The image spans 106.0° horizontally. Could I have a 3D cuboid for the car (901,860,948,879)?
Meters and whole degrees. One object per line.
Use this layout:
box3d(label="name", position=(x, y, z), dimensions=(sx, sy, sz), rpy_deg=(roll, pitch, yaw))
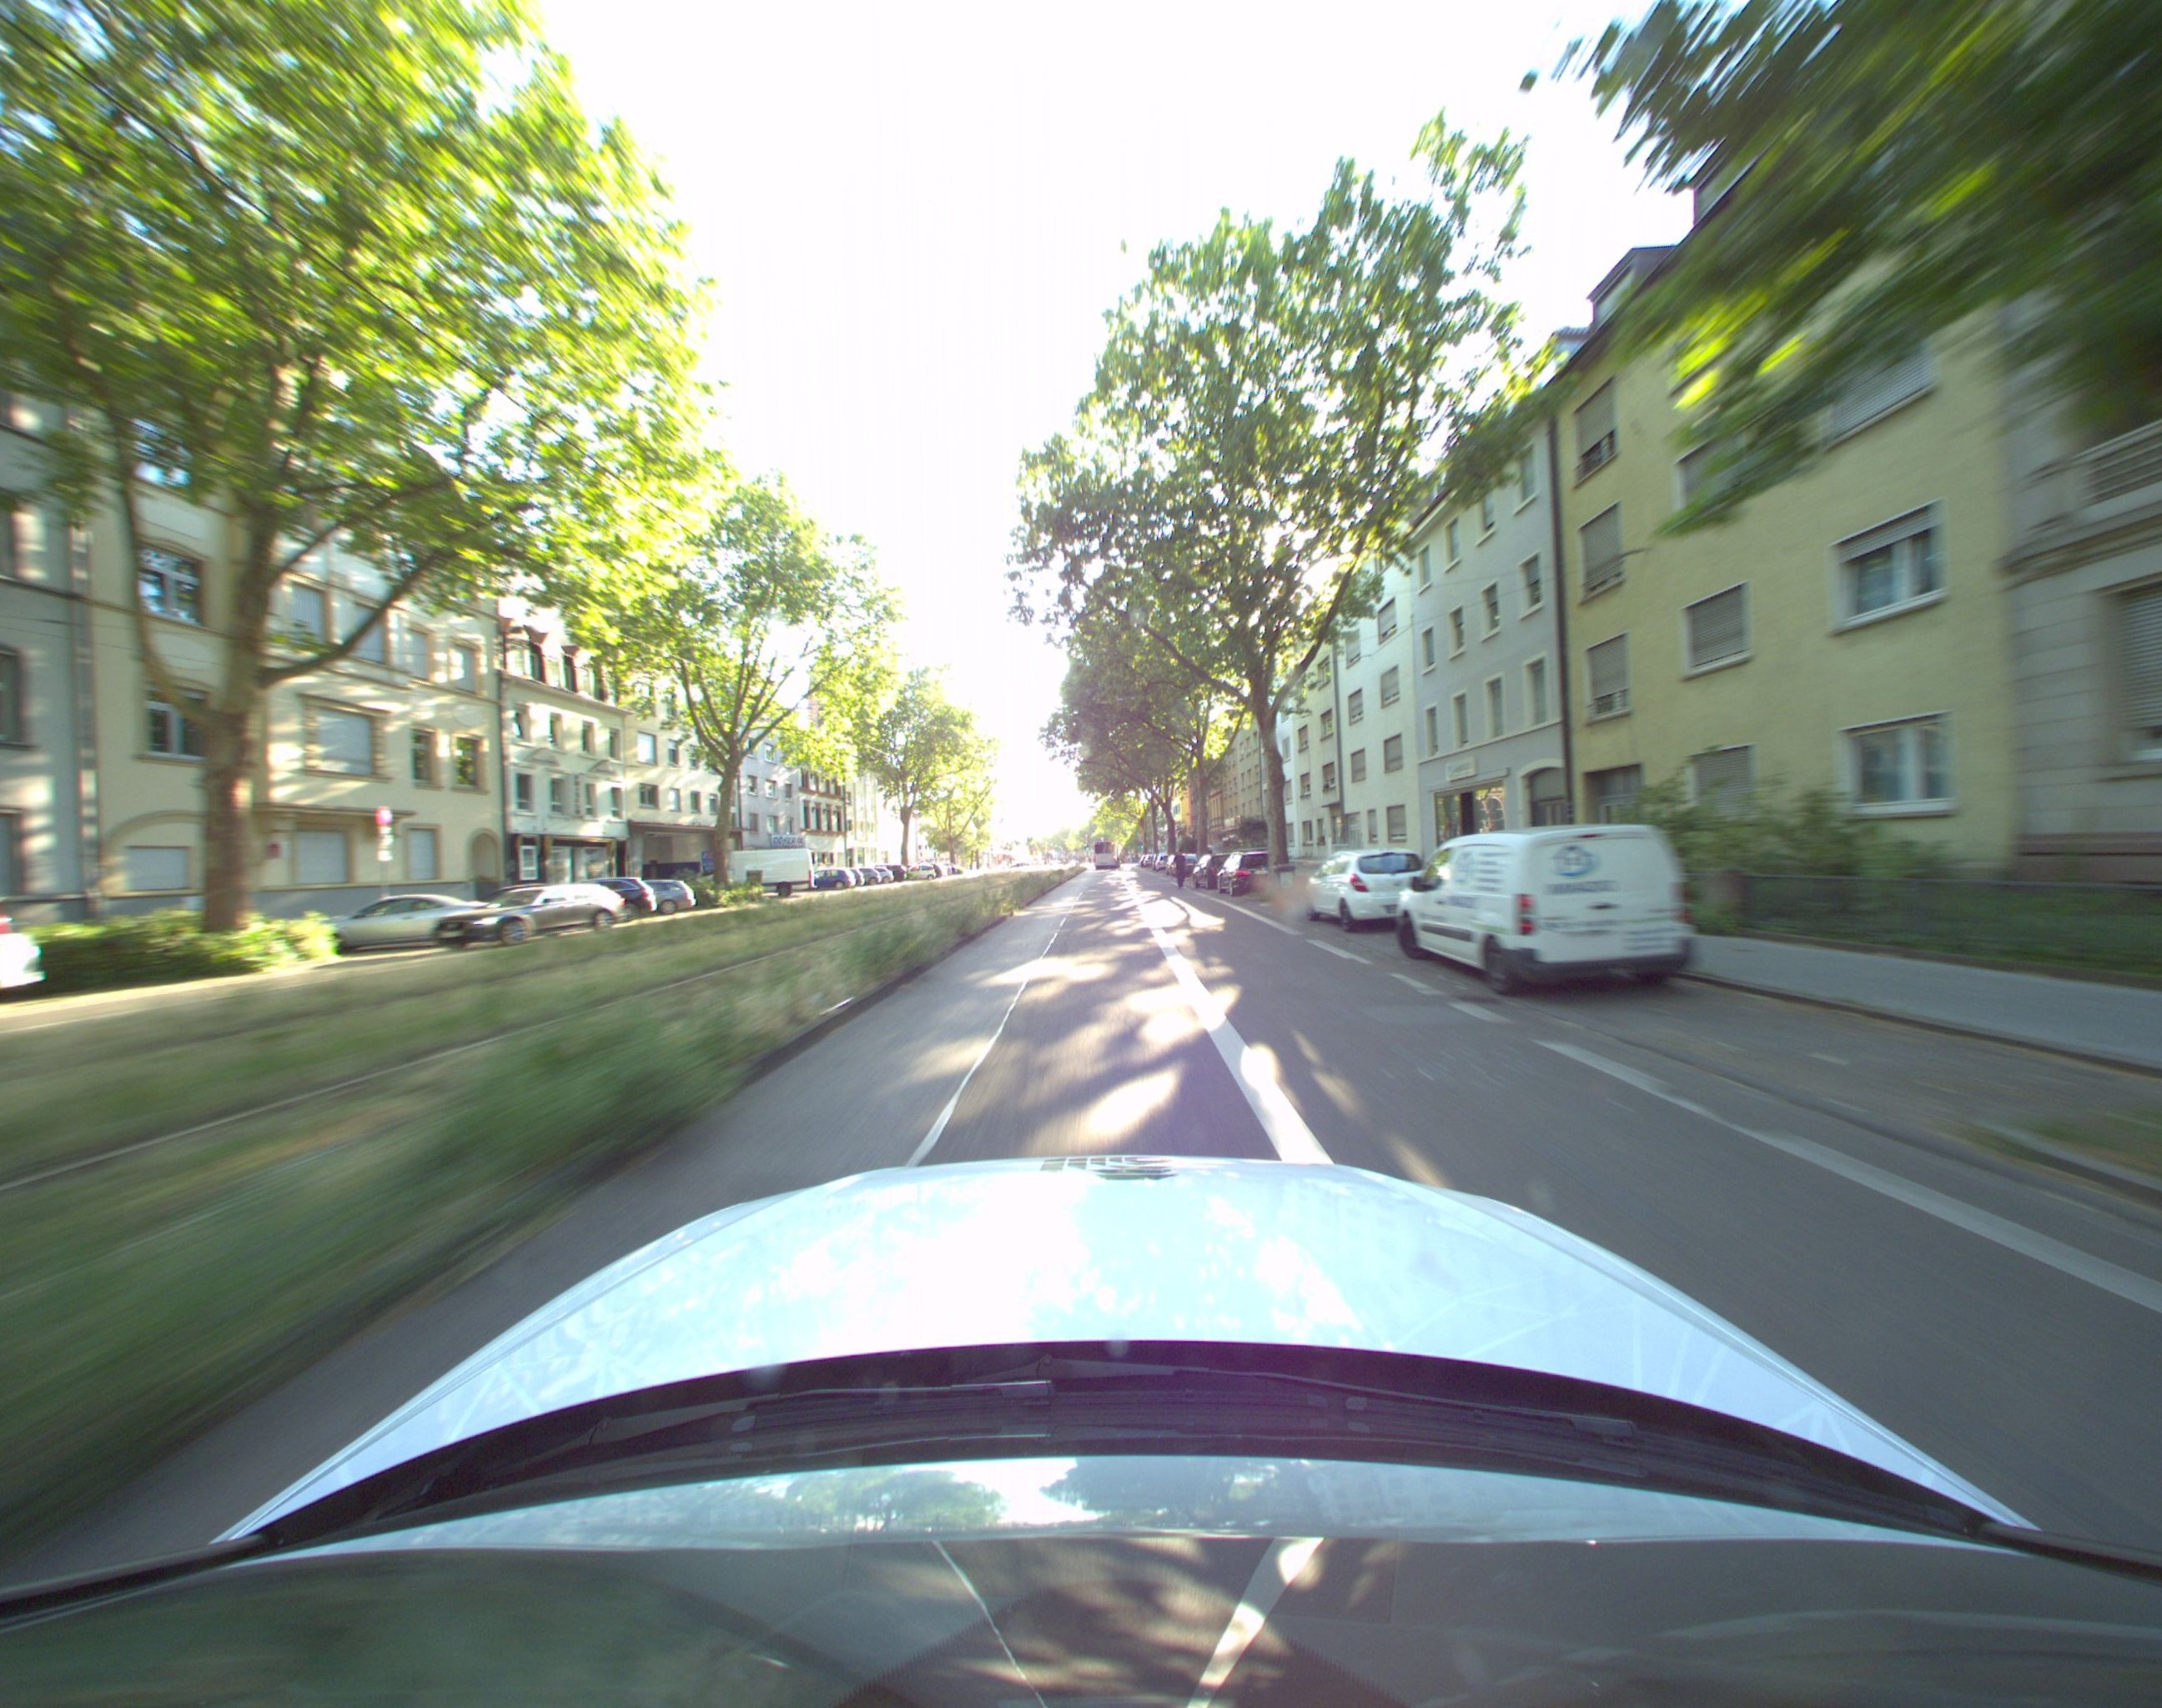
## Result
box3d(label="car", position=(-16.240, 1.628, 84.582), dimensions=(4.334, 1.738, 1.837), rpy_deg=(-2, -1, -39))

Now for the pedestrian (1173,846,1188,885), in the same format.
box3d(label="pedestrian", position=(4.589, 0.531, 37.553), dimensions=(0.574, 1.779, 0.514), rpy_deg=(-3, 0, 1))

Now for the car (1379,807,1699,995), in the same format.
box3d(label="car", position=(5.314, 0.489, 10.236), dimensions=(1.736, 1.770, 4.399), rpy_deg=(-3, -1, 4))

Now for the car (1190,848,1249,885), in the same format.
box3d(label="car", position=(6.069, 0.552, 36.070), dimensions=(1.682, 1.486, 3.996), rpy_deg=(-3, -1, -3))

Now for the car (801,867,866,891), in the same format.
box3d(label="car", position=(-17.658, 1.786, 58.075), dimensions=(4.314, 1.458, 1.845), rpy_deg=(-3, -1, -21))

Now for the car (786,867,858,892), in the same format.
box3d(label="car", position=(-17.589, 1.747, 55.432), dimensions=(4.290, 1.458, 1.855), rpy_deg=(-3, -1, -4))

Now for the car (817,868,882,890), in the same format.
box3d(label="car", position=(-17.638, 1.890, 62.048), dimensions=(4.334, 1.458, 1.837), rpy_deg=(-2, -1, -39))

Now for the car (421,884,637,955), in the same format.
box3d(label="car", position=(-14.382, 1.632, 21.654), dimensions=(1.735, 1.460, 4.938), rpy_deg=(-3, -1, 10))

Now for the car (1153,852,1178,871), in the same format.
box3d(label="car", position=(7.252, 0.644, 69.920), dimensions=(1.774, 1.516, 4.001), rpy_deg=(-3, 0, 1))

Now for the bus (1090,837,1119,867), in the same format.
box3d(label="bus", position=(2.650, -0.186, 94.618), dimensions=(2.825, 3.235, 8.178), rpy_deg=(-3, -1, -1))

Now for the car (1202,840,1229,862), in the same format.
box3d(label="car", position=(12.754, -0.254, 77.302), dimensions=(1.876, 1.860, 4.327), rpy_deg=(-3, -1, 1))

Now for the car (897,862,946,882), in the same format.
box3d(label="car", position=(-15.815, 1.729, 80.648), dimensions=(4.334, 1.738, 1.837), rpy_deg=(-2, -1, -39))

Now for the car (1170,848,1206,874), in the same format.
box3d(label="car", position=(6.792, 0.441, 52.020), dimensions=(1.774, 1.516, 4.001), rpy_deg=(-3, 0, 1))

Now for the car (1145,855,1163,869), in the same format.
box3d(label="car", position=(8.272, 0.876, 92.543), dimensions=(1.774, 1.516, 4.001), rpy_deg=(-3, 0, 1))

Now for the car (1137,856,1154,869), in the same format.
box3d(label="car", position=(7.851, 1.006, 99.096), dimensions=(1.774, 1.516, 4.001), rpy_deg=(-3, 0, 1))

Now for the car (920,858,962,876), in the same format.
box3d(label="car", position=(-15.691, 1.459, 91.397), dimensions=(4.334, 1.738, 1.837), rpy_deg=(-2, -1, -39))

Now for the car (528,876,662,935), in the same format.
box3d(label="car", position=(-17.754, 1.830, 29.929), dimensions=(4.013, 1.699, 1.838), rpy_deg=(-5, 0, -31))

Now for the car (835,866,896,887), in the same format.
box3d(label="car", position=(-17.272, 1.778, 65.404), dimensions=(4.334, 1.458, 1.837), rpy_deg=(-2, -1, -39))

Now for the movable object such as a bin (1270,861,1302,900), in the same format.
box3d(label="movable object such as a bin", position=(5.877, 0.751, 23.375), dimensions=(0.671, 1.045, 0.880), rpy_deg=(-3, 1, 1))

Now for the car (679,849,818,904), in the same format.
box3d(label="car", position=(-18.477, 1.212, 45.703), dimensions=(6.961, 2.678, 2.171), rpy_deg=(-3, -1, -20))

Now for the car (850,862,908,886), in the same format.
box3d(label="car", position=(-17.075, 1.675, 68.872), dimensions=(4.334, 1.738, 1.837), rpy_deg=(-2, -1, -39))

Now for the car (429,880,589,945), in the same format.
box3d(label="car", position=(-18.480, 1.848, 26.565), dimensions=(4.014, 1.553, 1.838), rpy_deg=(-6, 2, -31))

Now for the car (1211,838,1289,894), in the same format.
box3d(label="car", position=(5.961, 0.429, 29.363), dimensions=(1.738, 1.770, 4.988), rpy_deg=(-3, -1, 0))

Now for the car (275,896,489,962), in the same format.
box3d(label="car", position=(-18.219, 1.910, 21.487), dimensions=(4.013, 1.356, 1.570), rpy_deg=(-2, -1, -31))

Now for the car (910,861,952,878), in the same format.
box3d(label="car", position=(-17.157, 1.726, 93.184), dimensions=(4.334, 1.738, 1.837), rpy_deg=(-2, -1, -39))

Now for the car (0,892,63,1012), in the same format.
box3d(label="car", position=(-18.918, 1.644, 12.400), dimensions=(4.023, 1.882, 1.975), rpy_deg=(-2, -1, -44))

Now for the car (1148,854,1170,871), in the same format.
box3d(label="car", position=(7.454, 0.802, 78.332), dimensions=(1.774, 1.516, 4.001), rpy_deg=(-3, 0, 1))

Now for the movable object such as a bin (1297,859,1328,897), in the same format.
box3d(label="movable object such as a bin", position=(6.704, 0.686, 23.583), dimensions=(0.607, 1.048, 0.848), rpy_deg=(-3, 0, 1))

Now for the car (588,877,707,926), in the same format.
box3d(label="car", position=(-17.615, 1.883, 33.153), dimensions=(4.019, 1.699, 1.835), rpy_deg=(-2, -1, -37))

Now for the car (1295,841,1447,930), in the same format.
box3d(label="car", position=(5.661, 0.554, 16.437), dimensions=(1.640, 1.486, 4.001), rpy_deg=(-3, 0, 1))

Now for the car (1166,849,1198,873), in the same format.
box3d(label="car", position=(7.045, 0.459, 57.092), dimensions=(1.774, 1.516, 4.001), rpy_deg=(-3, 0, 1))
